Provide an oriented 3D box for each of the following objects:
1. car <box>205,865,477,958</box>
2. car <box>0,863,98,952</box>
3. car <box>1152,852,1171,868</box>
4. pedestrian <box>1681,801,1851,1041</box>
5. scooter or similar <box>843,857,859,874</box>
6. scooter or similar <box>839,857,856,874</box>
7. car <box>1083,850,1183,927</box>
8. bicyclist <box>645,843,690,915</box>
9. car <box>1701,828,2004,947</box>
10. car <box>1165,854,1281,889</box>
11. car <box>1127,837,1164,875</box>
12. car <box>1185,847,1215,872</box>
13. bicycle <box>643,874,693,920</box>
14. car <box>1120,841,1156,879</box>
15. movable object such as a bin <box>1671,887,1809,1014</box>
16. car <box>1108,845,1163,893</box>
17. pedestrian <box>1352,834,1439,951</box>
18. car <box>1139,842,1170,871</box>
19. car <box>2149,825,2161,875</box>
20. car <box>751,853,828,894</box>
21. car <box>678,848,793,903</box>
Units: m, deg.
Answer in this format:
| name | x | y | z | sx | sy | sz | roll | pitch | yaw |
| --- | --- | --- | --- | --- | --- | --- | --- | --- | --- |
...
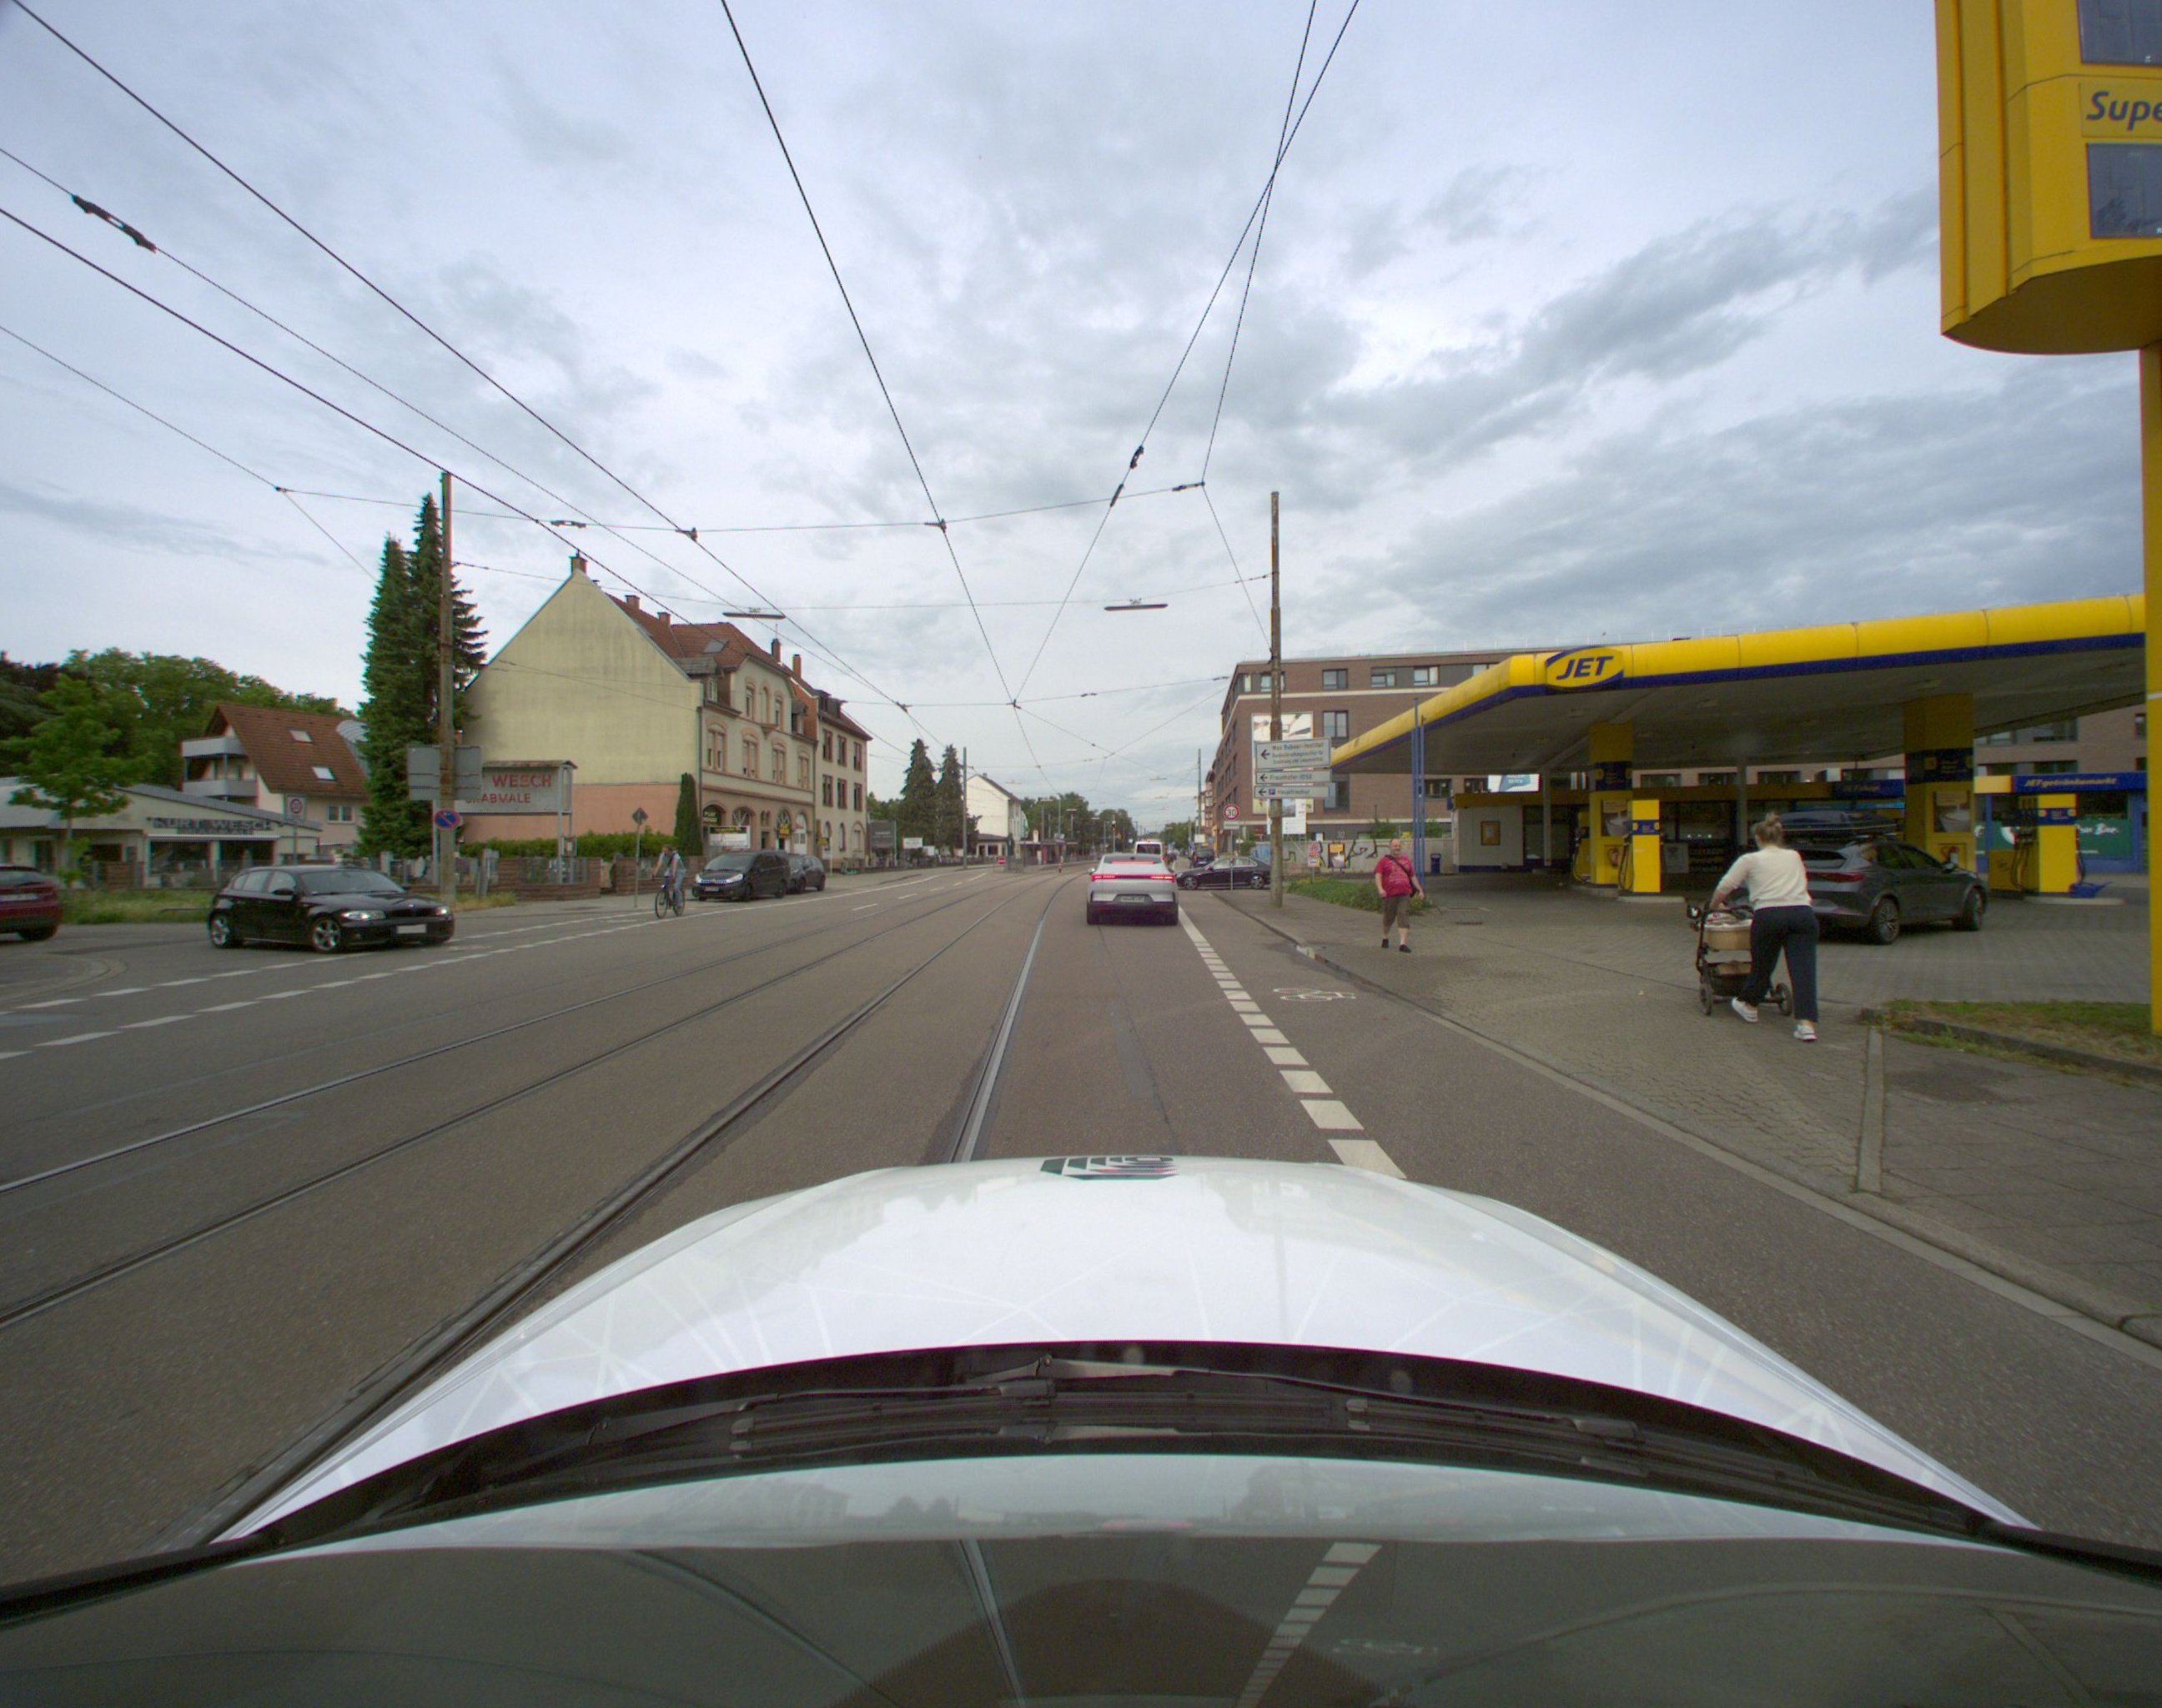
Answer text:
| name | x | y | z | sx | sy | sz | roll | pitch | yaw |
| --- | --- | --- | --- | --- | --- | --- | --- | --- | --- |
| car | -12.672 | 0.902 | 13.988 | 3.887 | 1.388 | 1.811 | 0 | 0 | 19 |
| car | -19.954 | 0.899 | 14.067 | 3.699 | 1.417 | 1.768 | 1 | 2 | -1 |
| car | 10.706 | 0.804 | 108.632 | 1.988 | 2.014 | 3.998 | 1 | -1 | -1 |
| pedestrian | 5.645 | 0.512 | 6.801 | 0.760 | 1.797 | 1.169 | -4 | -1 | 28 |
| scooter or similar | -16.035 | 0.795 | 56.762 | 1.056 | 1.188 | 0.315 | 1 | -1 | -33 |
| scooter or similar | -16.409 | 0.796 | 57.225 | 1.056 | 1.188 | 0.315 | 1 | -1 | -33 |
| car | 1.081 | 0.706 | 18.779 | 1.976 | 1.550 | 4.181 | 1 | 0 | -1 |
| bicyclist | -10.468 | 0.611 | 20.663 | 0.736 | 1.749 | 0.975 | -2 | 0 | -11 |
| car | 12.136 | 0.430 | 12.811 | 4.333 | 1.497 | 1.980 | -2 | 1 | -25 |
| car | 6.265 | 0.770 | 35.746 | 4.835 | 1.427 | 1.960 | -1 | 0 | 14 |
| car | 4.263 | 0.137 | 54.404 | 2.208 | 2.423 | 4.952 | 1 | -1 | 1 |
| car | 9.103 | 0.408 | 62.521 | 1.867 | 1.823 | 4.098 | 1 | -1 | 2 |
| bicycle | -10.454 | 1.062 | 20.660 | 0.587 | 1.074 | 1.949 | -2 | 0 | -11 |
| car | 3.223 | 0.344 | 46.709 | 1.985 | 2.014 | 4.002 | 1 | -1 | 2 |
| movable object such as a bin | 6.110 | 0.866 | 7.615 | 0.760 | 1.039 | 1.030 | -4 | -1 | 28 |
| car | 2.100 | 0.578 | 32.425 | 1.962 | 1.756 | 3.838 | 1 | -1 | 0 |
| pedestrian | 4.946 | 0.586 | 12.866 | 0.968 | 1.738 | 0.862 | -3 | -1 | 2 |
| car | 5.699 | 0.232 | 63.821 | 2.131 | 2.145 | 4.746 | 1 | -1 | 2 |
| car | 35.427 | -0.141 | 24.492 | 1.819 | 1.638 | 4.500 | 1 | -1 | 19 |
| car | -12.899 | 0.838 | 36.332 | 1.838 | 1.718 | 4.193 | 1 | -1 | 1 |
| car | -12.734 | 0.760 | 30.443 | 1.984 | 1.887 | 5.000 | 1 | -1 | 2 |
